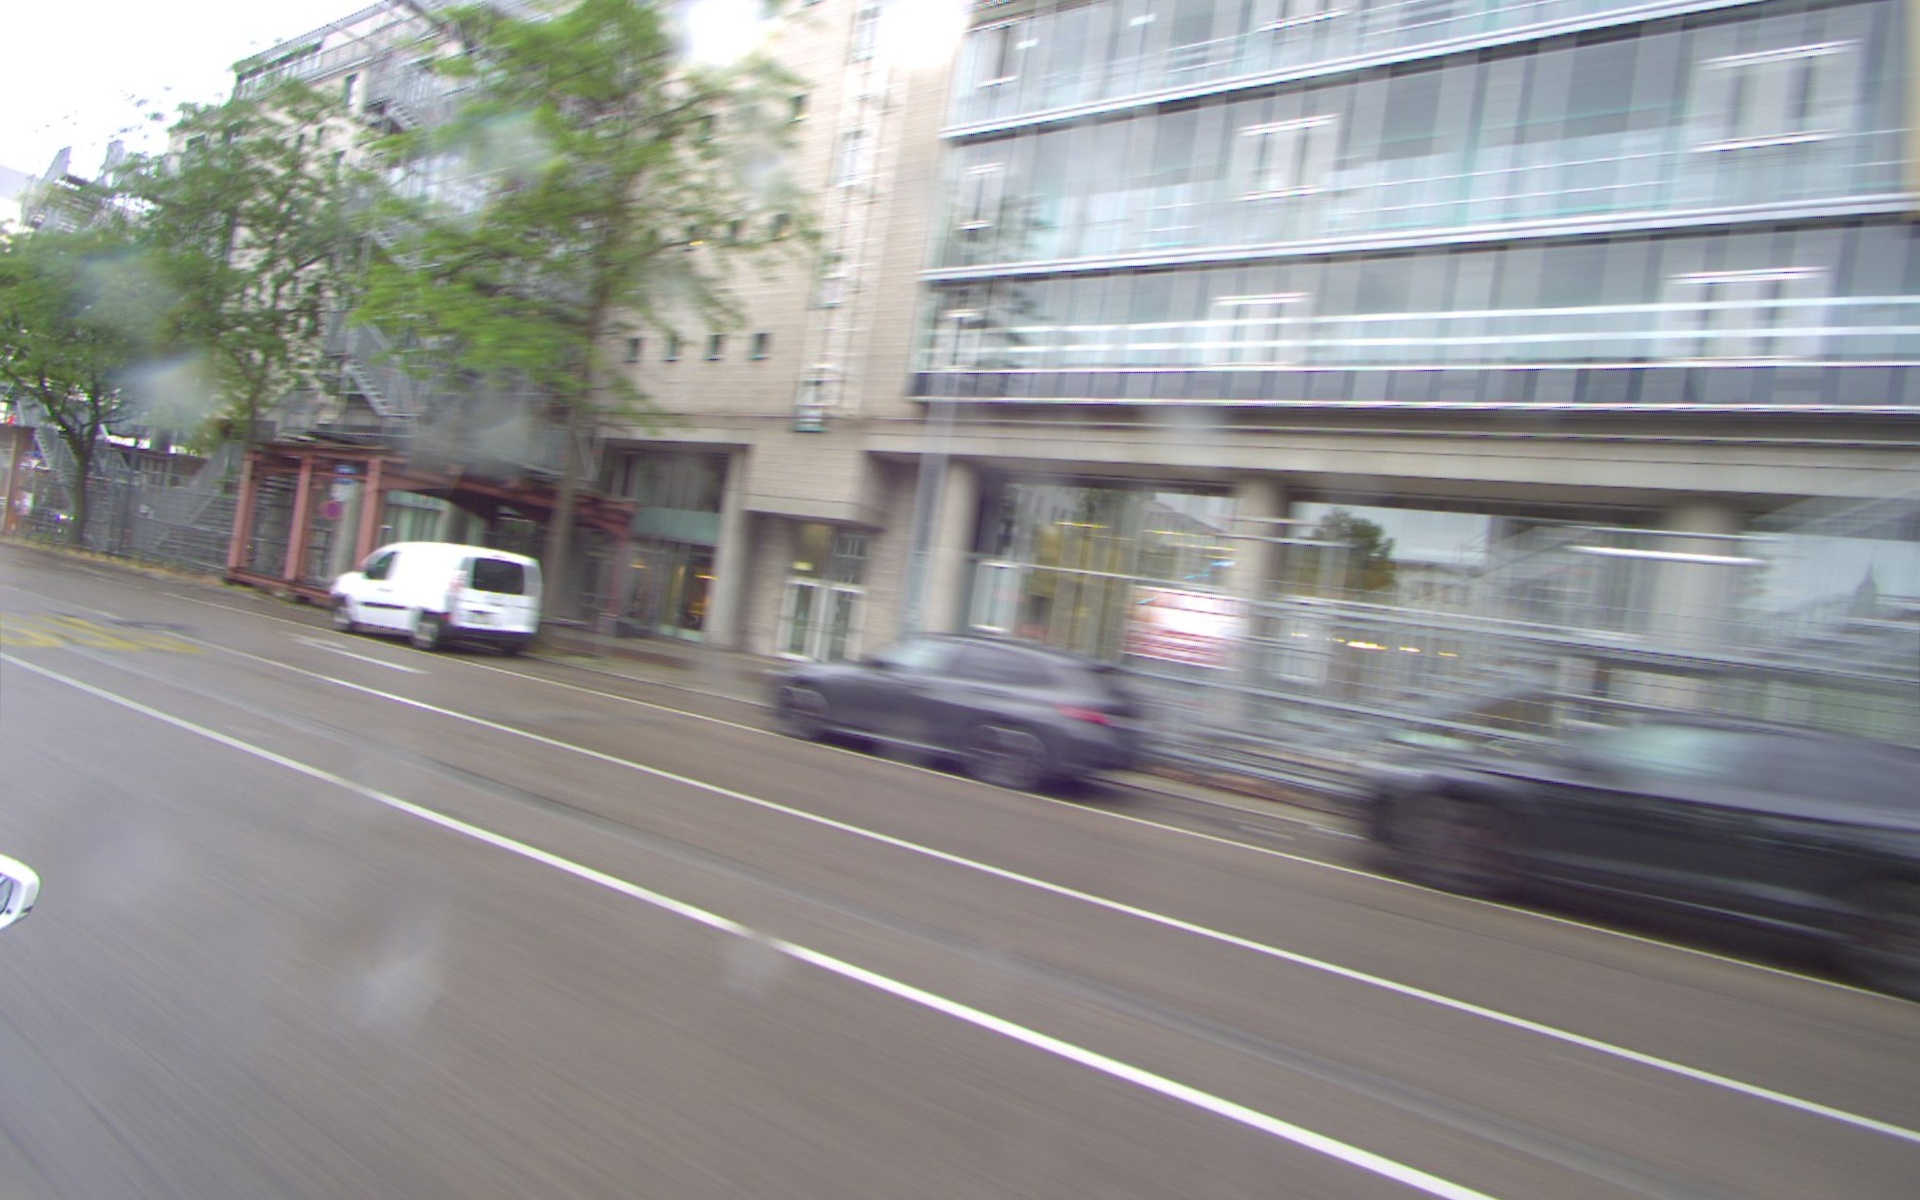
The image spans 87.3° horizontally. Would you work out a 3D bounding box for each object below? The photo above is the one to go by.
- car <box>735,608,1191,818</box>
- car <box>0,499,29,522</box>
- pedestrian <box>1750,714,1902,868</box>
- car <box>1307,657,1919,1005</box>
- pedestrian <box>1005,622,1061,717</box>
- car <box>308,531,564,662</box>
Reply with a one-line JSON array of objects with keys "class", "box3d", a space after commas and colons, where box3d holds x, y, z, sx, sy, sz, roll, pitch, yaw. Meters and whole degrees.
[{"class": "car", "box3d": [-0.104, 1.139, 11.401, 4.843, 1.454, 1.871, 7, -1, 35]}, {"class": "car", "box3d": [-78.495, -7.478, 81.141, 1.962, 1.616, 4.469, 7, -2, 18]}, {"class": "pedestrian", "box3d": [10.505, 2.274, 12.258, 1.094, 1.615, 0.820, 7, -1, 28]}, {"class": "car", "box3d": [5.444, 1.616, 7.694, 4.785, 1.665, 1.995, 7, -1, 35]}, {"class": "pedestrian", "box3d": [1.436, 1.370, 19.741, 0.642, 1.763, 0.676, 7, 0, 35]}, {"class": "car", "box3d": [-9.471, -0.087, 18.091, 4.452, 1.770, 1.997, 7, -1, 33]}]
